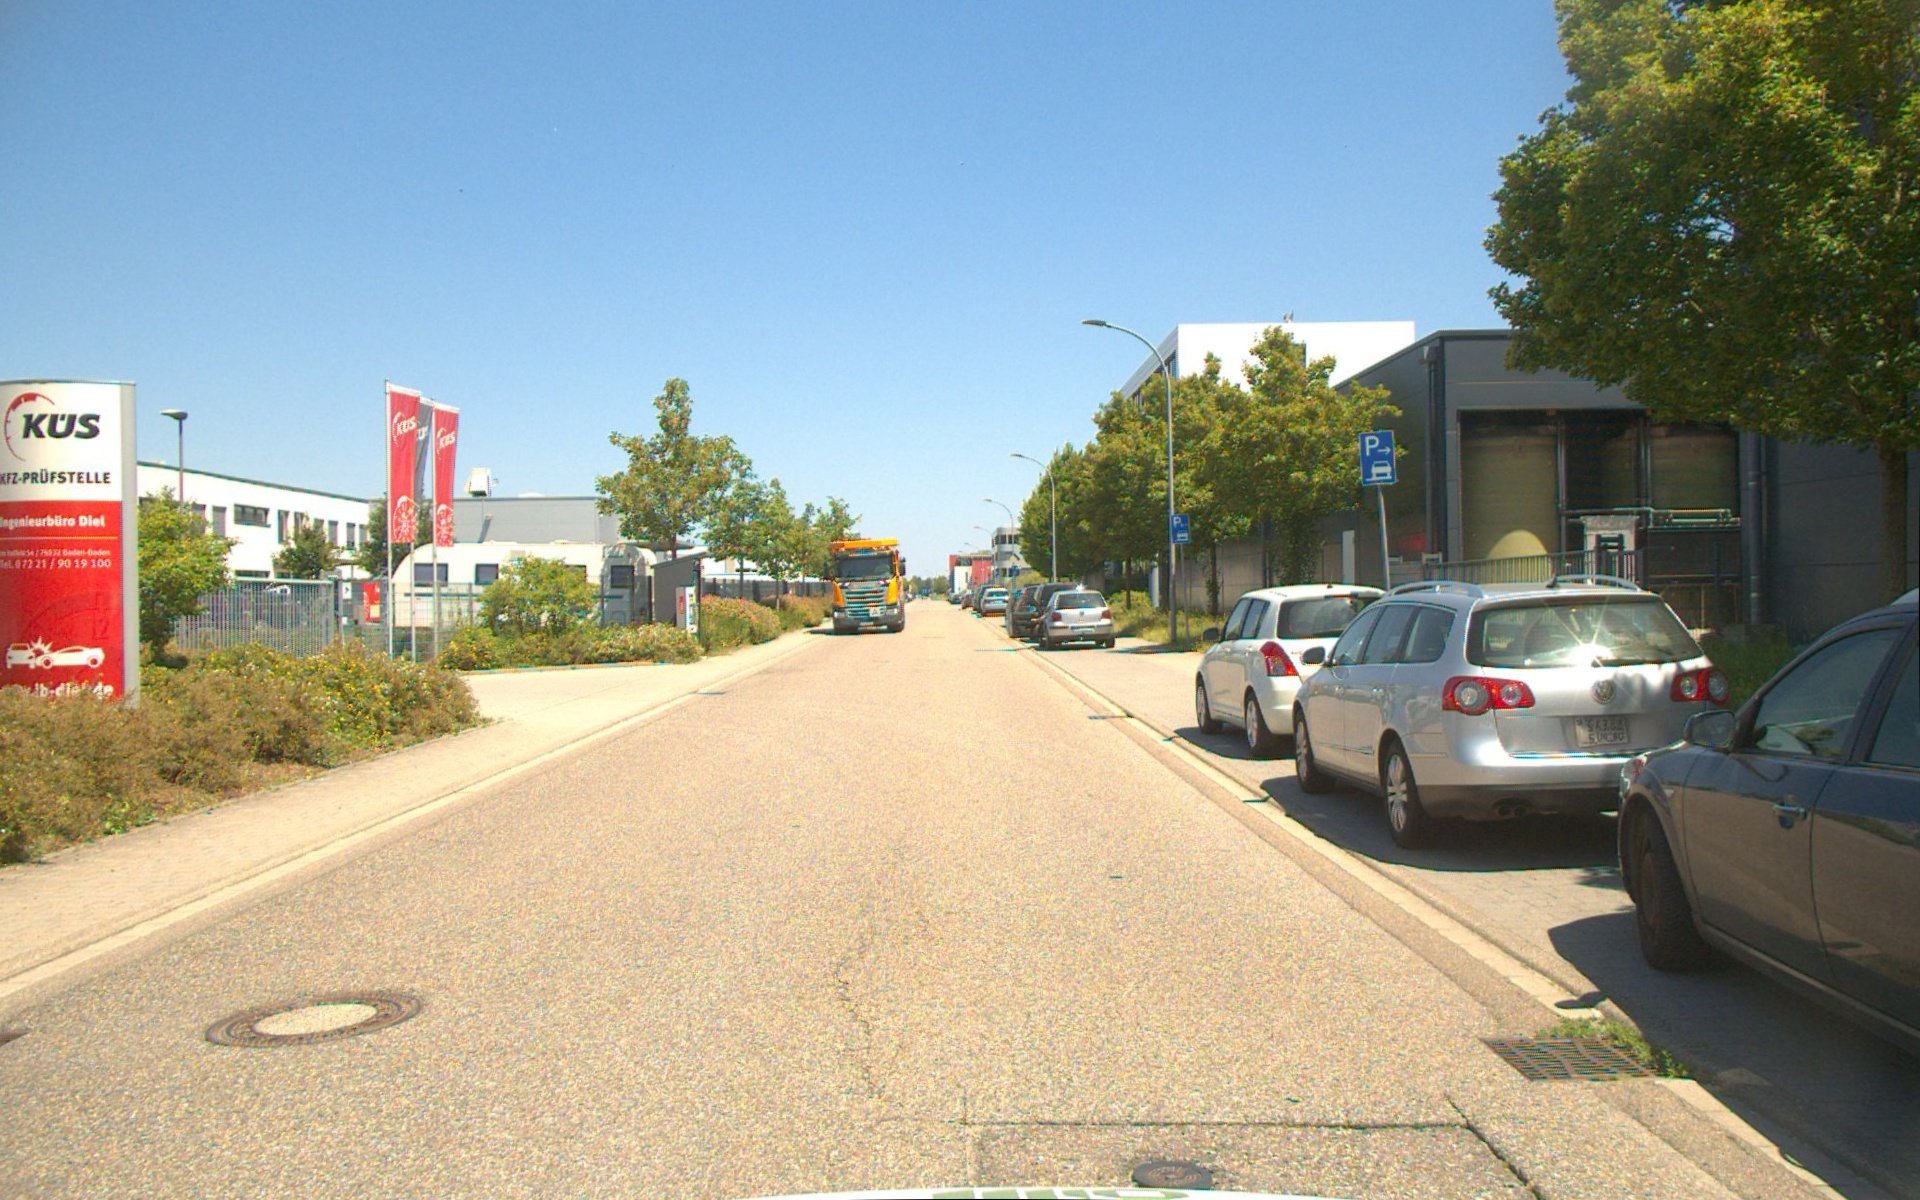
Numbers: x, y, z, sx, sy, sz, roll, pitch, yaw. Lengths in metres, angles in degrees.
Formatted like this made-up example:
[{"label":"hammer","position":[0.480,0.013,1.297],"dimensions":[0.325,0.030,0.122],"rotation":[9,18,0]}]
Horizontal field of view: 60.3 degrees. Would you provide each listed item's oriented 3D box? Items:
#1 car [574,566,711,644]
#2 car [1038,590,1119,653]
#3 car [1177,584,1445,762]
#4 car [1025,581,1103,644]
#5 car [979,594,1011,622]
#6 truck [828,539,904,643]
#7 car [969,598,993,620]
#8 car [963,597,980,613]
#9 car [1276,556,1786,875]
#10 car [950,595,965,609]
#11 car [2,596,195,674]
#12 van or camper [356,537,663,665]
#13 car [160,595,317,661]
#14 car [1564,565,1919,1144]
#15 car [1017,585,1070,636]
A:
[{"label":"car","position":[-11.422,0.166,59.742],"dimensions":[4.623,2.631,1.998],"rotation":[-1,0,-5]},{"label":"car","position":[2.942,0.524,41.829],"dimensions":[1.683,1.475,3.645],"rotation":[-2,0,-1]},{"label":"car","position":[3.324,0.623,16.358],"dimensions":[1.603,1.494,3.743],"rotation":[-2,0,-4]},{"label":"car","position":[2.972,0.348,47.946],"dimensions":[1.645,1.716,3.996],"rotation":[-1,0,-5]},{"label":"car","position":[1.878,0.411,88.825],"dimensions":[1.553,1.434,3.499],"rotation":[-1,0,-1]},{"label":"truck","position":[-3.462,-0.341,62.476],"dimensions":[2.399,3.574,8.271],"rotation":[-2,0,-1]},{"label":"car","position":[1.406,0.610,112.003],"dimensions":[1.465,1.434,3.499],"rotation":[-1,0,-1]},{"label":"car","position":[1.034,0.492,153.143],"dimensions":[1.465,1.434,3.499],"rotation":[-1,0,-1]},{"label":"car","position":[3.380,0.608,10.788],"dimensions":[1.713,1.589,4.505],"rotation":[-2,0,0]},{"label":"car","position":[-0.241,0.189,168.929],"dimensions":[1.465,1.434,3.499],"rotation":[-1,0,-1]},{"label":"car","position":[-22.023,0.878,42.391],"dimensions":[3.906,1.847,1.916],"rotation":[-1,0,-2]},{"label":"van or camper","position":[-11.683,0.020,43.427],"dimensions":[7.235,3.090,2.789],"rotation":[-1,0,-2]},{"label":"car","position":[-21.881,0.835,50.282],"dimensions":[3.906,1.847,1.916],"rotation":[-1,0,-2]},{"label":"car","position":[3.405,0.654,5.026],"dimensions":[1.673,1.531,4.708],"rotation":[-2,0,4]},{"label":"car","position":[2.983,0.362,59.596],"dimensions":[1.686,1.724,3.984],"rotation":[-1,0,0]}]
